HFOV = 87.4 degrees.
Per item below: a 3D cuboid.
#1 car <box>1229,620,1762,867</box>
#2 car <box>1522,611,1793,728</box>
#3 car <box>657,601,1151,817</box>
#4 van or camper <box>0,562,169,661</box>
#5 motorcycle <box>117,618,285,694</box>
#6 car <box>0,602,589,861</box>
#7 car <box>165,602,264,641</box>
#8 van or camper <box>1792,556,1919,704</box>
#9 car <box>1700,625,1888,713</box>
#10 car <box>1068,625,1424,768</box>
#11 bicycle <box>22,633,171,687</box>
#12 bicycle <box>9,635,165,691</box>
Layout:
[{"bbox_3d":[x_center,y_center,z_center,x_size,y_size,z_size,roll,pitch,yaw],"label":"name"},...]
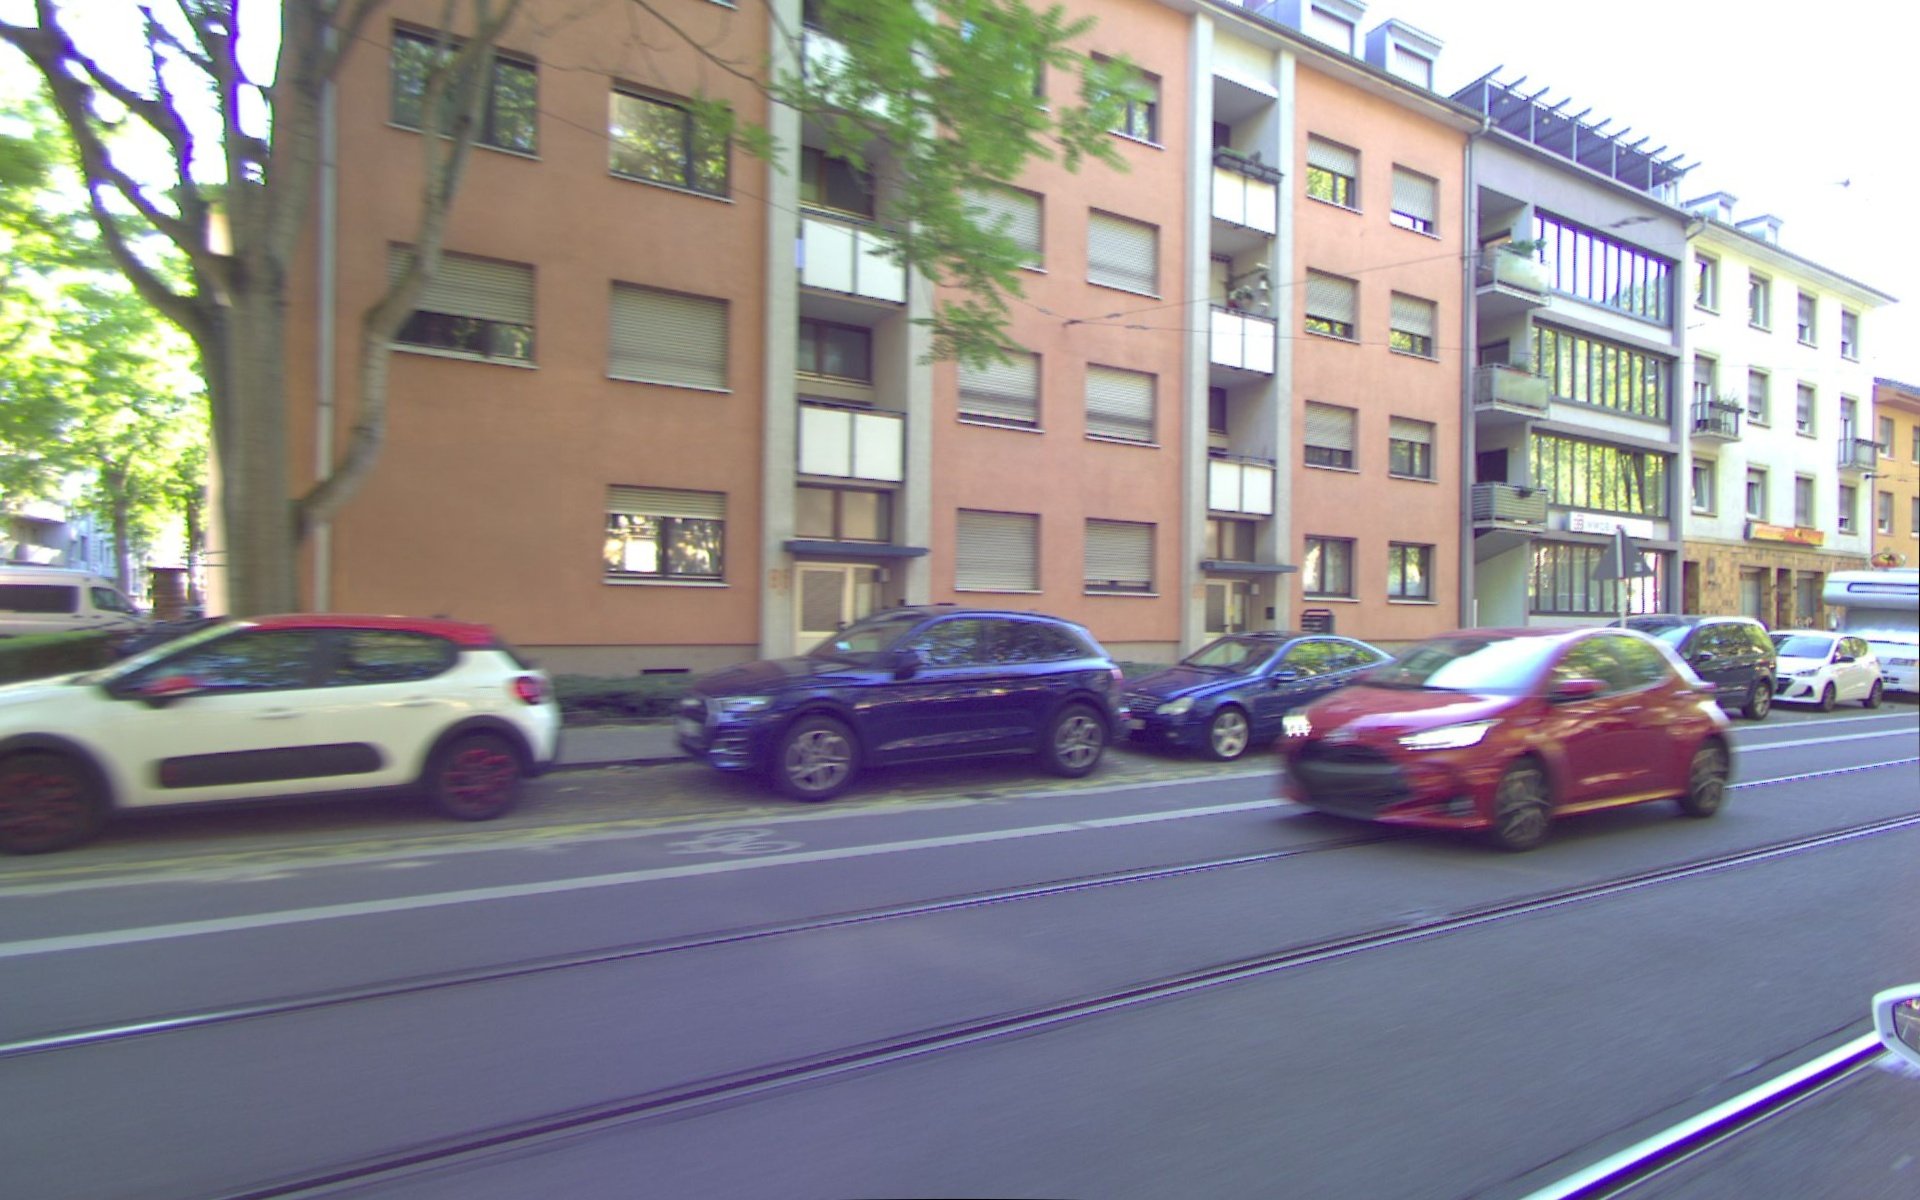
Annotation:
[{"bbox_3d":[4.247,0.920,7.829,4.153,1.477,1.767,1,-2,-30],"label":"car"},{"bbox_3d":[12.095,1.105,17.326,5.012,1.709,1.942,1,1,-31],"label":"car"},{"bbox_3d":[-0.454,0.903,9.873,4.535,1.632,1.772,1,2,-31],"label":"car"},{"bbox_3d":[-26.389,0.342,28.674,2.217,2.664,5.539,0,-1,29],"label":"van or camper"},{"bbox_3d":[-12.061,0.879,16.045,2.042,1.144,0.691,1,-1,-30],"label":"motorcycle"},{"bbox_3d":[-5.049,0.837,7.503,4.040,1.498,1.798,2,1,-29],"label":"car"},{"bbox_3d":[-40.779,1.166,55.033,1.793,2.040,3.995,0,-1,28],"label":"car"},{"bbox_3d":[22.424,0.648,23.493,6.319,3.082,2.327,1,2,-29],"label":"van or camper"},{"bbox_3d":[16.802,1.329,20.208,3.818,1.508,1.701,1,2,-31],"label":"car"},{"bbox_3d":[3.602,1.068,12.429,4.332,1.420,1.729,1,1,-31],"label":"car"},{"bbox_3d":[-14.817,1.016,17.300,1.848,0.883,0.637,1,-1,-30],"label":"bicycle"},{"bbox_3d":[-14.488,1.030,16.735,1.848,0.883,0.605,1,-1,-30],"label":"bicycle"}]
